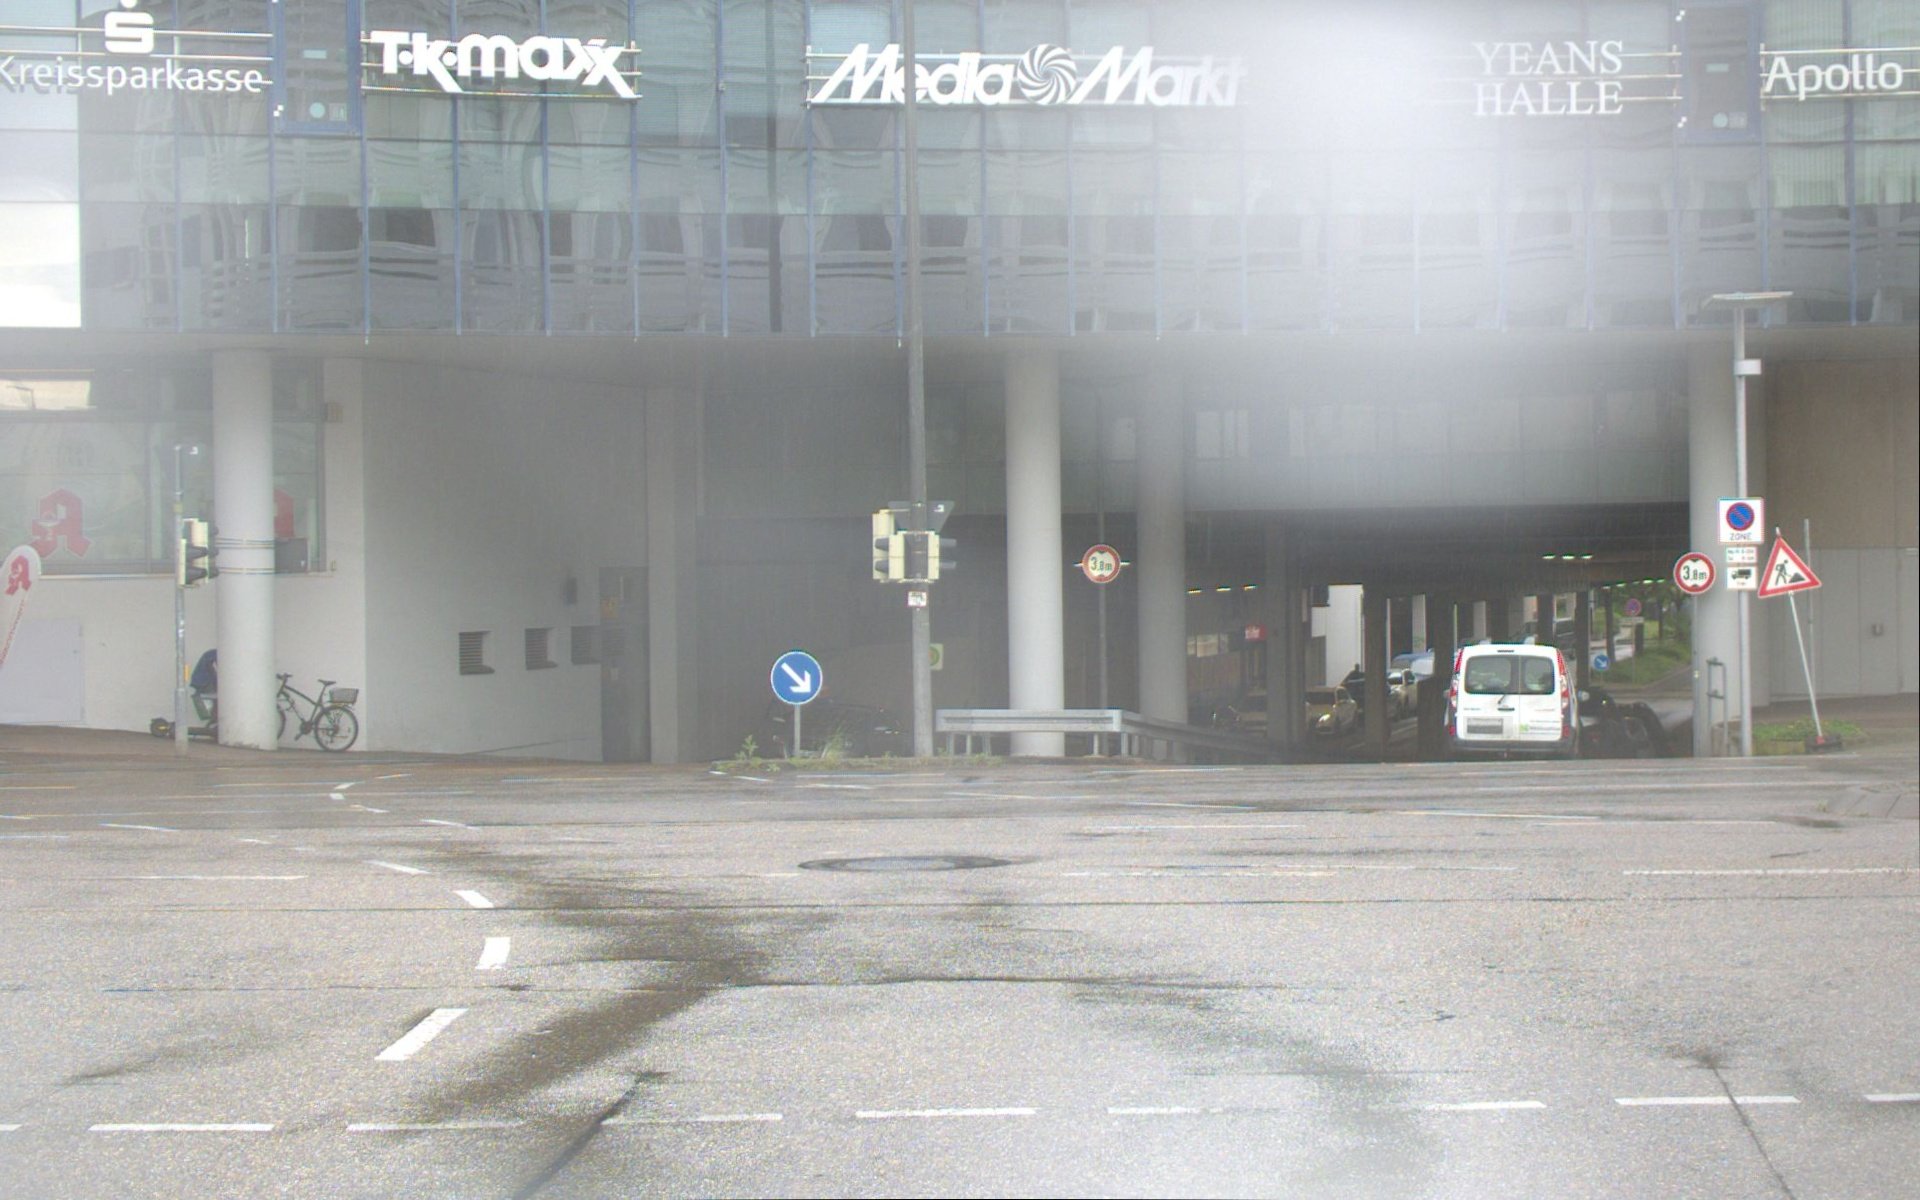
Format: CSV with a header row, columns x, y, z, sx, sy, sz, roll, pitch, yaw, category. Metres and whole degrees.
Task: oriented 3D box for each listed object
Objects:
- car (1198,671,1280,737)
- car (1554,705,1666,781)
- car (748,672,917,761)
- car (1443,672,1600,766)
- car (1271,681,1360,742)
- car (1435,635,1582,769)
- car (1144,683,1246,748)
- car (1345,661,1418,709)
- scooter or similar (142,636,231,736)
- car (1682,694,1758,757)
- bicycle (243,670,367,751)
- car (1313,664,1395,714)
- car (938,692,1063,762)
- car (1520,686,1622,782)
x,y,z,sx,sy,sz,roll,pitch,yaw,category
7.812,2.886,96.081,1.837,1.722,3.998,0,0,11,car
12.491,2.770,65.949,1.781,1.396,3.996,-1,-3,15,car
-2.281,2.143,62.625,1.894,1.465,4.023,-1,-4,16,car
9.220,1.983,56.269,1.759,1.459,3.938,-2,-3,21,car
10.553,3.286,101.870,1.995,1.658,3.997,1,0,15,car
7.793,1.430,48.622,1.926,1.791,4.294,-1,-1,10,car
6.267,3.059,91.283,1.916,1.582,3.936,-1,0,15,car
14.066,2.824,114.593,1.994,1.459,3.998,-1,0,13,car
-10.844,1.201,48.195,1.166,1.368,0.489,1,0,-15,scooter or similar
20.103,3.299,90.895,1.889,1.486,3.838,1,0,13,car
-9.274,1.563,48.697,1.581,1.014,0.452,6,-2,-31,bicycle
12.570,2.817,109.510,1.995,1.459,3.997,-1,0,15,car
0.913,2.753,74.419,1.772,1.459,3.872,-1,-2,15,car
10.884,2.419,61.094,1.633,1.606,4.260,-2,-3,11,car
